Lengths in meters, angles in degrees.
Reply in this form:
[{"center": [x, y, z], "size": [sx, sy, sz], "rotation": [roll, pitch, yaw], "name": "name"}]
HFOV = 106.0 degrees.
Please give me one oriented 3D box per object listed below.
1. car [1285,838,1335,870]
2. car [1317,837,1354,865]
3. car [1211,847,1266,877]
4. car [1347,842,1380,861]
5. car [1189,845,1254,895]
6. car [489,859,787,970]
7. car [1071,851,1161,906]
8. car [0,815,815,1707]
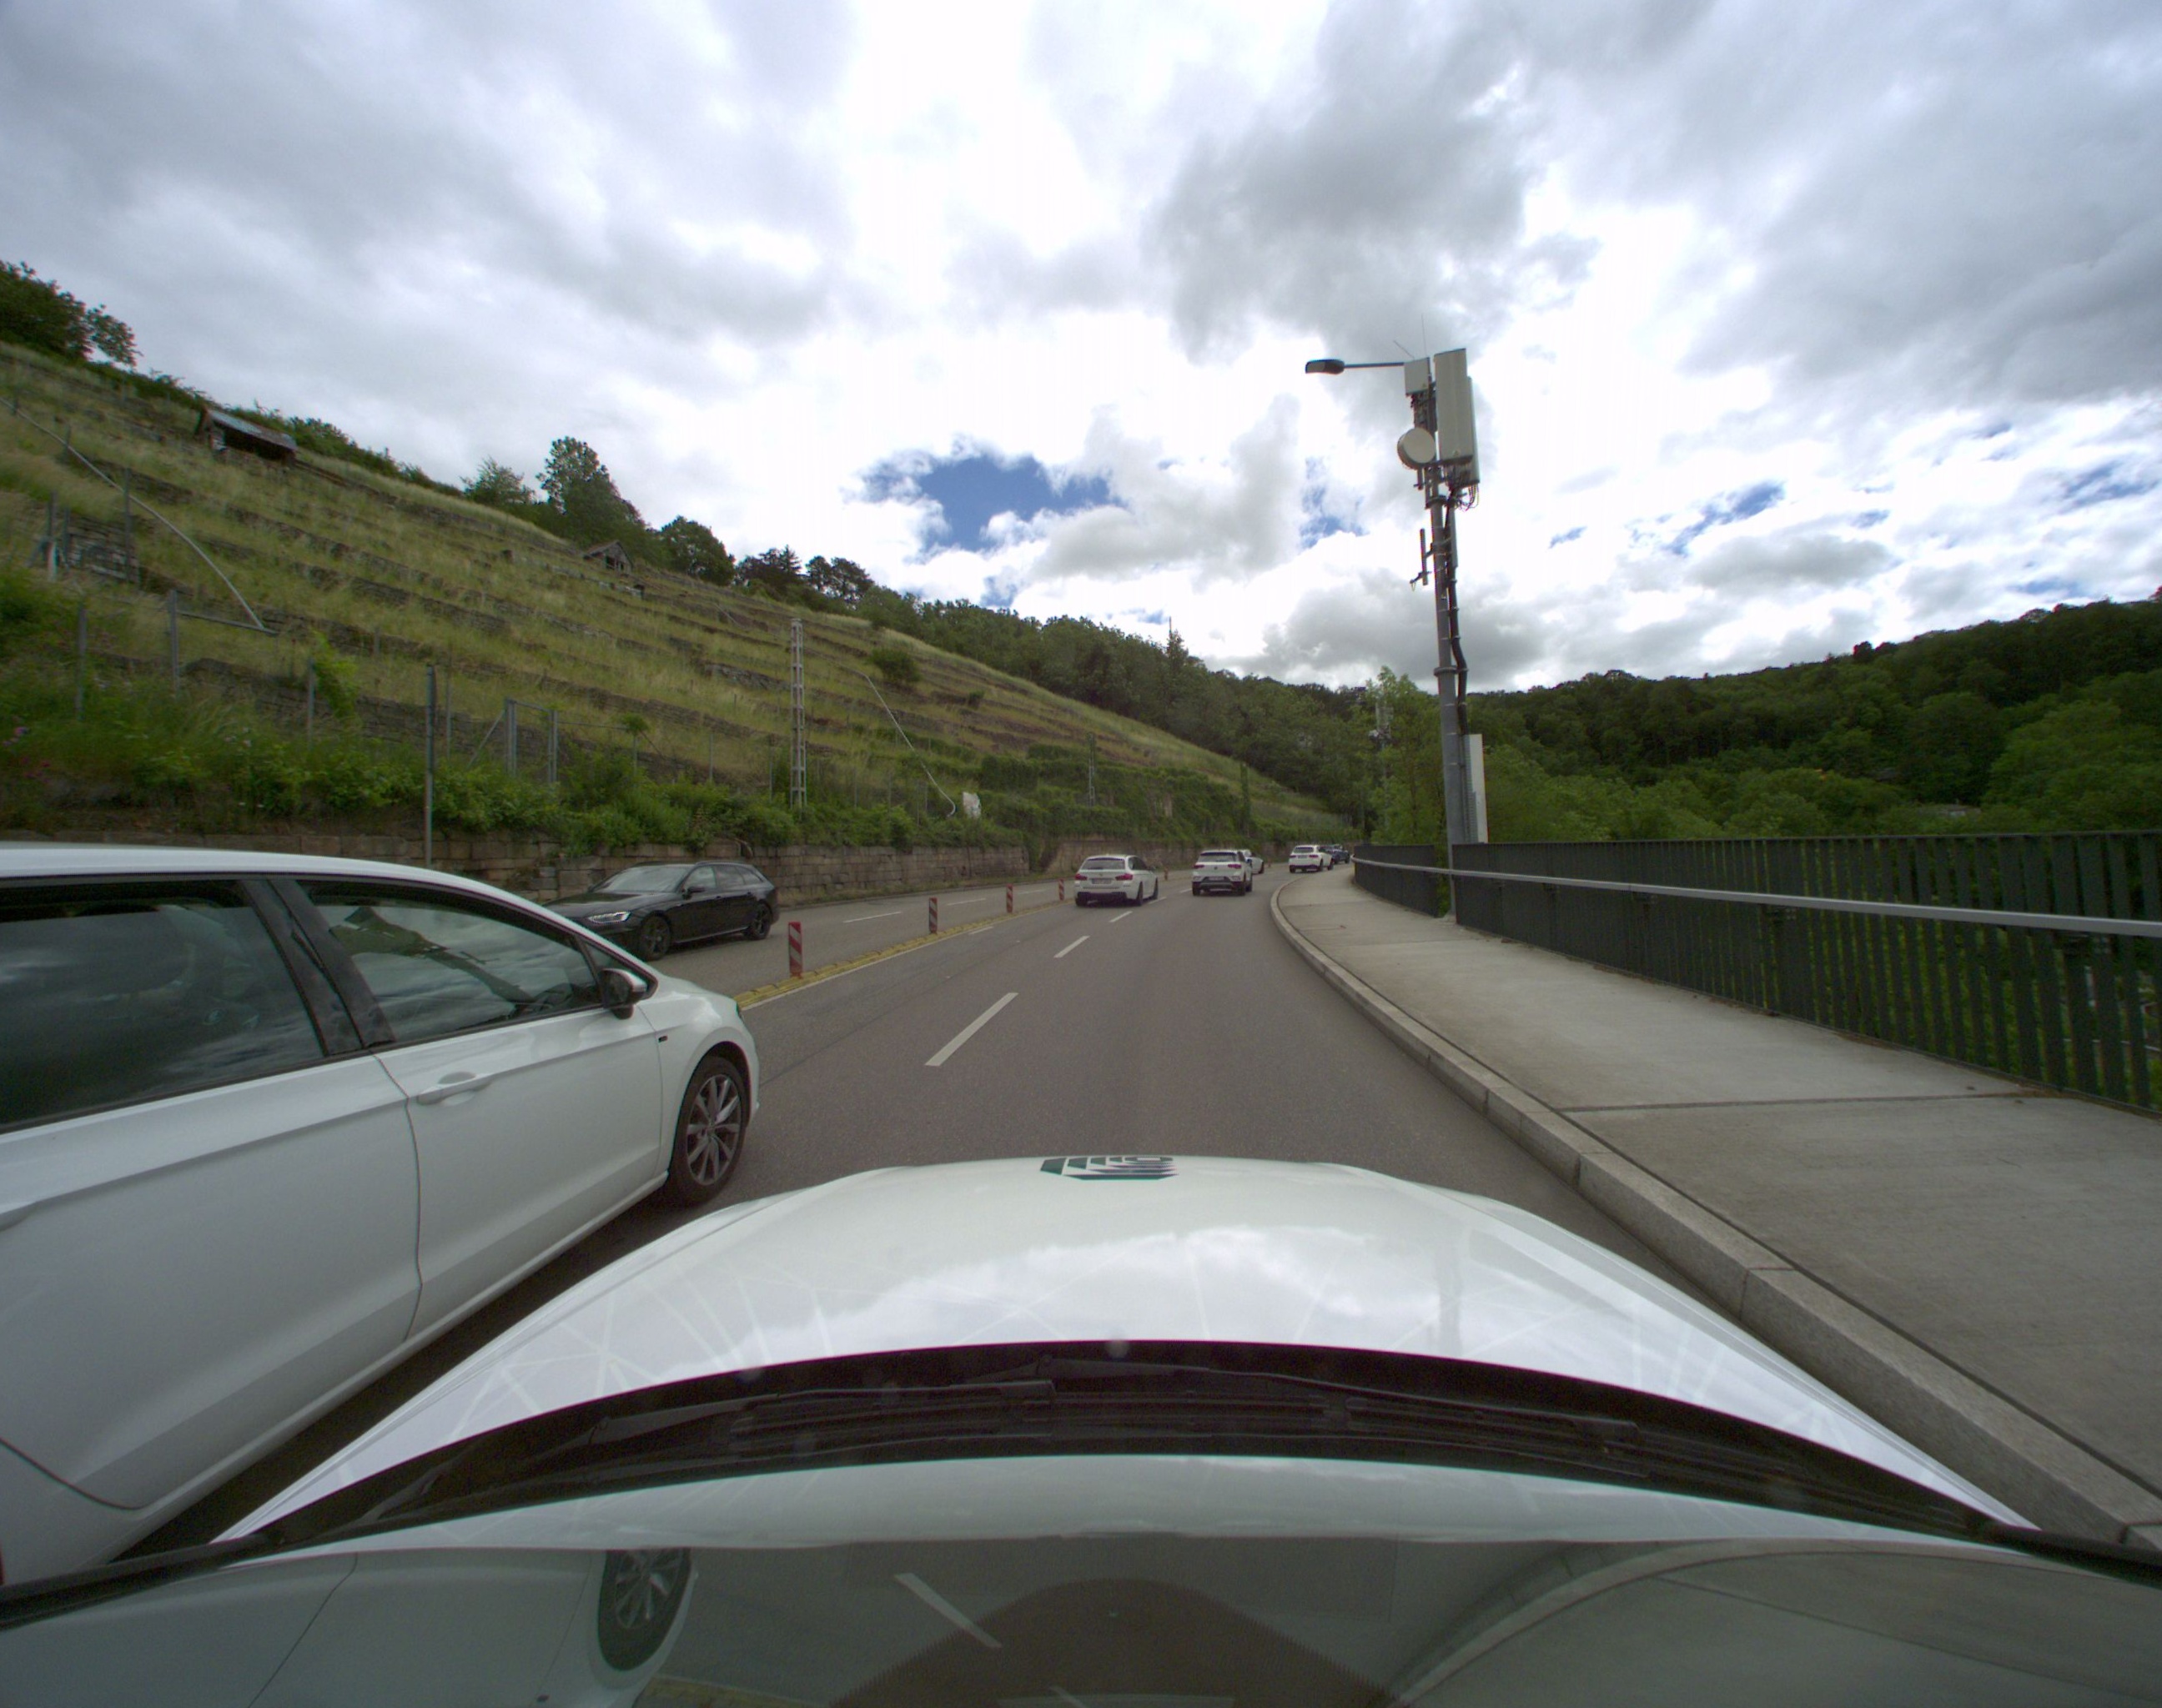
[{"center": [13.756, 0.012, 48.742], "size": [1.975, 1.718, 4.138], "rotation": [-5, -2, 27], "name": "car"}, {"center": [19.948, -0.254, 63.763], "size": [1.975, 2.014, 4.024], "rotation": [-5, -2, 27], "name": "car"}, {"center": [8.998, 0.424, 46.336], "size": [1.975, 1.503, 4.694], "rotation": [-4, 0, 24], "name": "car"}, {"center": [25.592, -0.236, 73.698], "size": [1.974, 1.717, 4.025], "rotation": [-1, 0, 32], "name": "car"}, {"center": [5.001, 0.504, 28.613], "size": [1.814, 1.605, 4.017], "rotation": [1, 1, 16], "name": "car"}, {"center": [-6.740, 0.812, 13.073], "size": [1.840, 1.413, 4.427], "rotation": [0, 0, 10], "name": "car"}, {"center": [1.149, 0.668, 24.240], "size": [1.815, 1.459, 4.502], "rotation": [0, 0, 13], "name": "car"}, {"center": [-2.530, 0.734, 2.377], "size": [1.813, 1.580, 4.360], "rotation": [-1, 0, 4], "name": "car"}]
